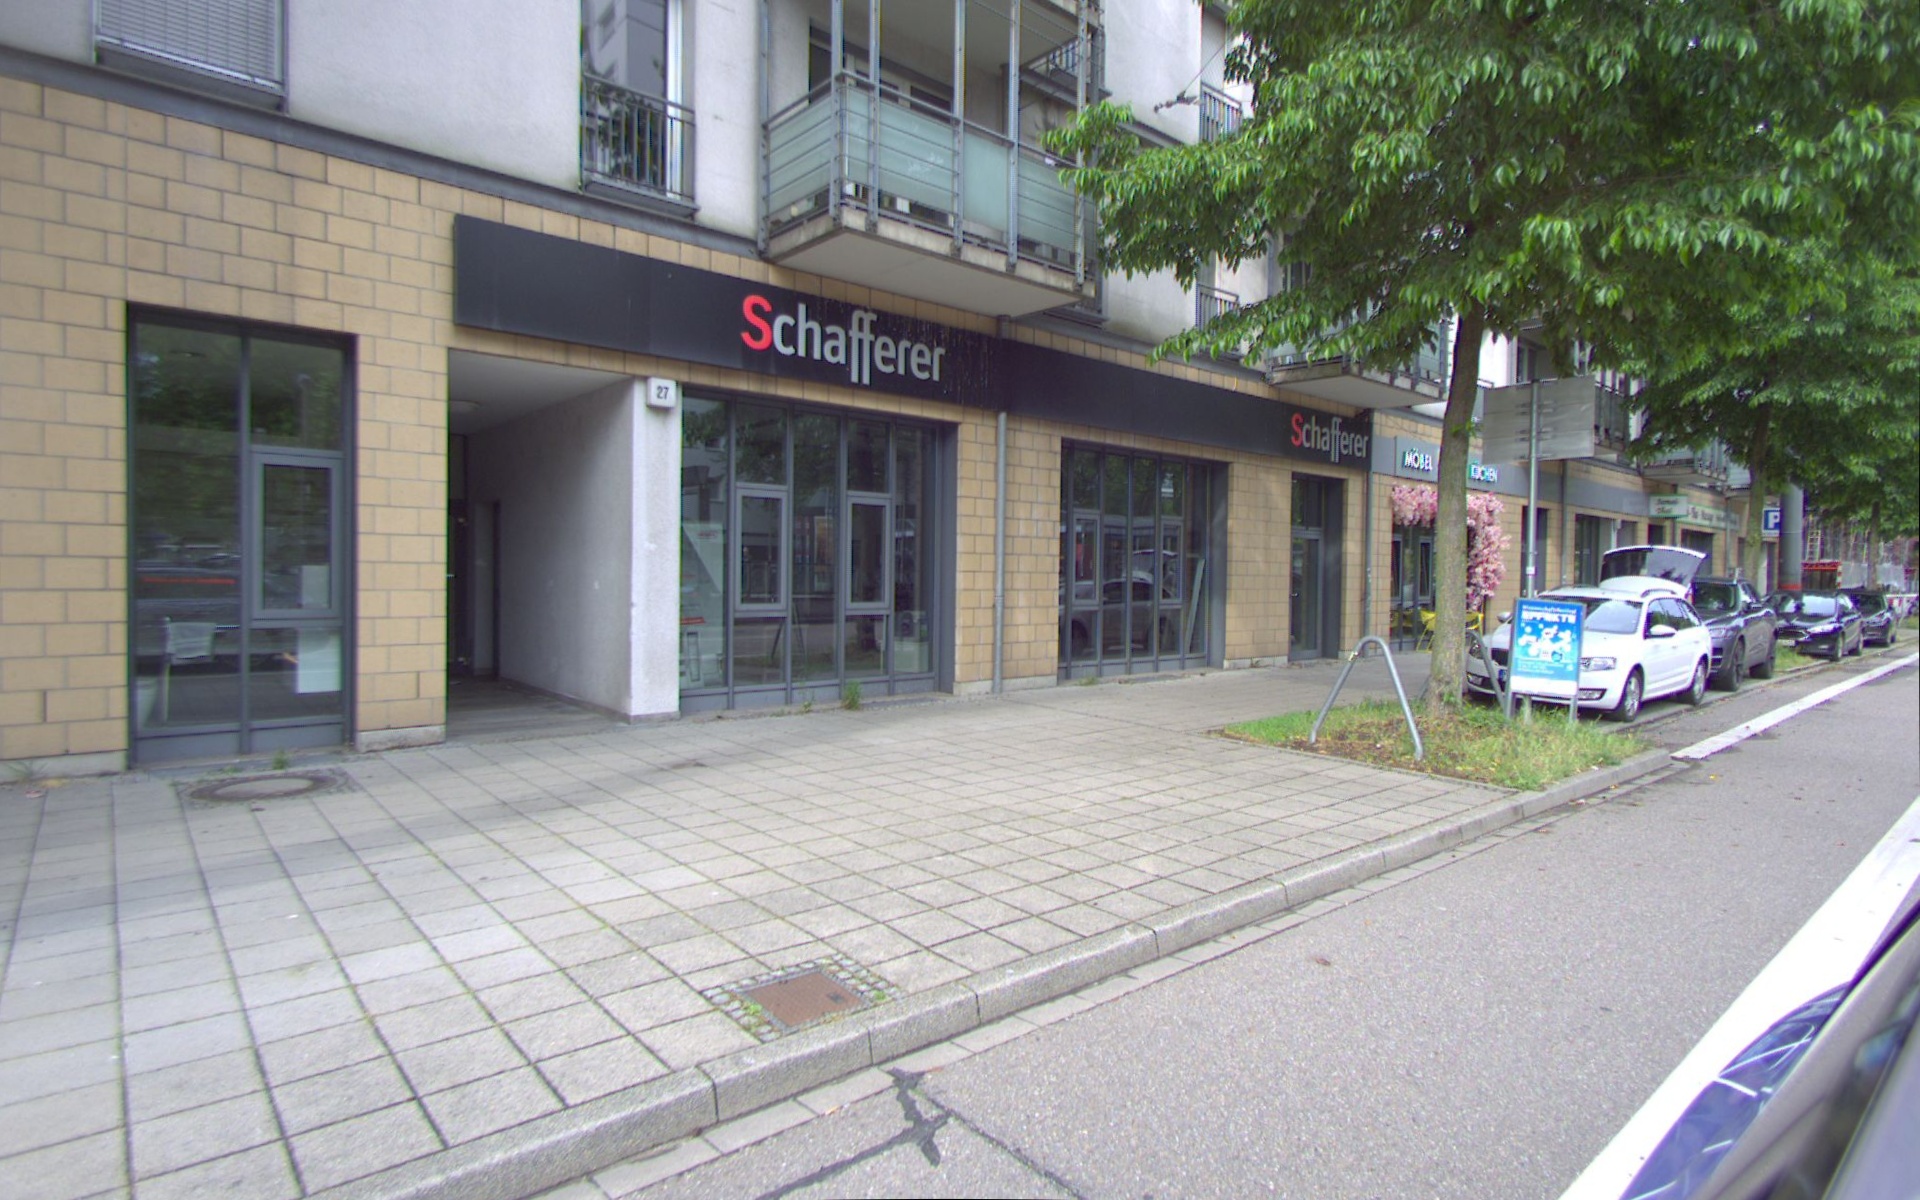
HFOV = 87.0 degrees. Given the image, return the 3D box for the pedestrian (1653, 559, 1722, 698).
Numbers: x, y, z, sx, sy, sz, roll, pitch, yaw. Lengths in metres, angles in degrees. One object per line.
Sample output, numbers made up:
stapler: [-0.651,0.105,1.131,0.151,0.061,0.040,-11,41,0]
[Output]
pedestrian: [10.313,0.385,14.343,0.588,1.907,0.656,0,1,-41]

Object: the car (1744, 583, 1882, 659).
car: [18.632,0.385,22.041,4.095,1.394,1.612,-1,5,-41]

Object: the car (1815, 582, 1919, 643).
car: [24.153,0.286,26.867,3.603,1.417,1.612,-1,5,-41]

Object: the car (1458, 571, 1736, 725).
car: [8.120,0.473,12.751,4.233,1.539,1.738,-1,5,-41]

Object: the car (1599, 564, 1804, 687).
car: [11.792,0.317,16.024,3.732,1.630,1.738,-1,5,-41]
